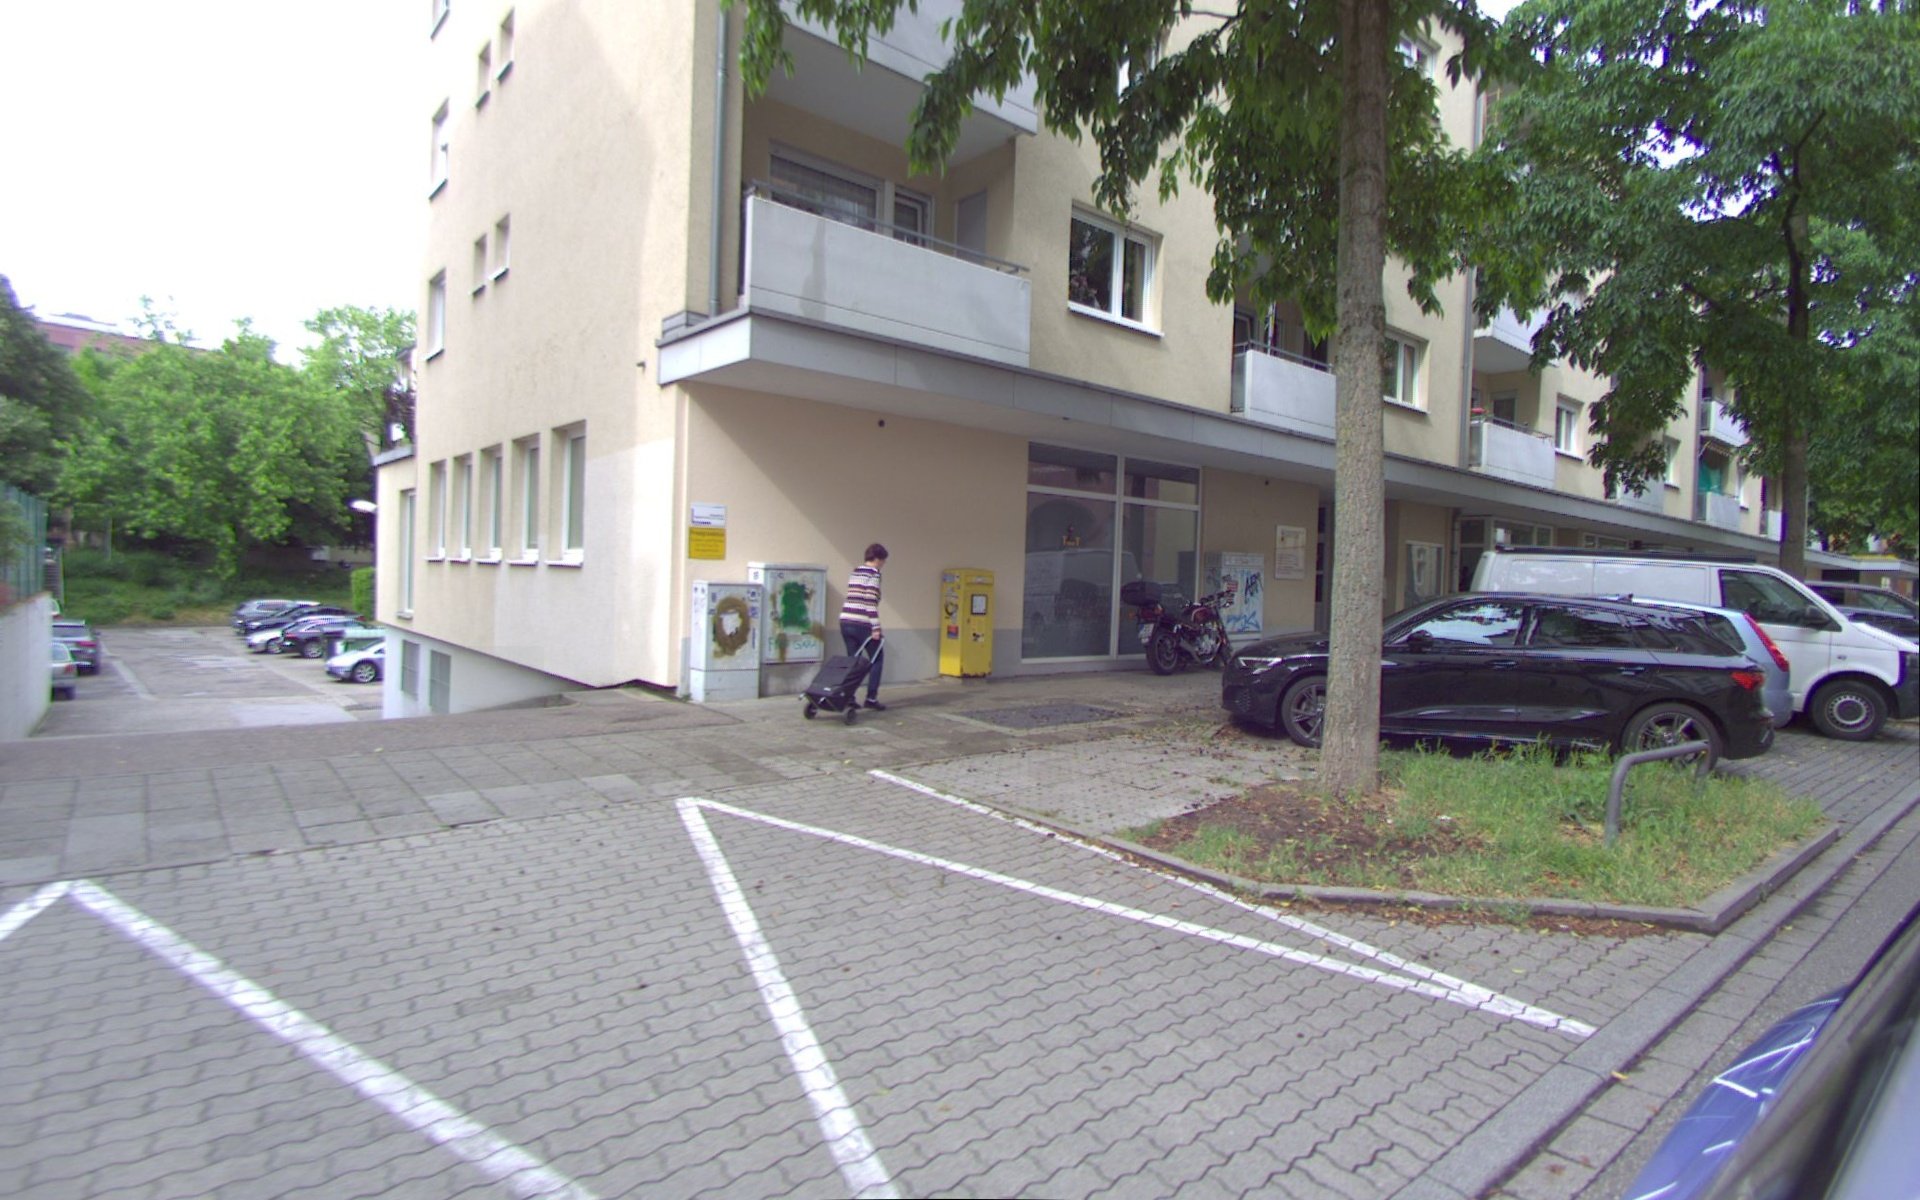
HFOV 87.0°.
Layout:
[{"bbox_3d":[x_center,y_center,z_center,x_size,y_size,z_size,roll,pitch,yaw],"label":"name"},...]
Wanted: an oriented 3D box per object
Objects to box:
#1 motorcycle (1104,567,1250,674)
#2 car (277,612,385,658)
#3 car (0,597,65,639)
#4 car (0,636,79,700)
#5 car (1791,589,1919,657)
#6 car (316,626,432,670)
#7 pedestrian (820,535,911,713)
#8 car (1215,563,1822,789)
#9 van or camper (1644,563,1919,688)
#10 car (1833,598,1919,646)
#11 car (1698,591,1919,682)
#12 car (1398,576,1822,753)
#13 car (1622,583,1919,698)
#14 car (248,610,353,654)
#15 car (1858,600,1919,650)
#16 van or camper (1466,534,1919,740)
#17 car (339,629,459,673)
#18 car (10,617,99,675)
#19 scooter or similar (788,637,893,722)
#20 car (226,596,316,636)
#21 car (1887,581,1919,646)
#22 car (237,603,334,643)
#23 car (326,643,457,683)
[{"bbox_3d":[2.991,0.268,13.803,2.213,1.316,0.679,1,4,-41],"label":"motorcycle"},{"bbox_3d":[-24.489,1.338,39.480,3.480,1.459,1.651,-2,4,-33],"label":"car"},{"bbox_3d":[-39.514,0.729,43.179,1.923,1.715,3.993,1,-1,-41],"label":"car"},{"bbox_3d":[-23.804,1.687,25.857,1.923,1.410,3.830,1,-1,-41],"label":"car"},{"bbox_3d":[24.161,0.631,25.697,4.177,1.518,1.963,4,3,21],"label":"car"},{"bbox_3d":[-20.074,1.617,34.683,3.358,1.408,1.605,1,-1,-33],"label":"car"},{"bbox_3d":[-0.865,0.207,9.242,0.570,1.559,0.577,1,0,-41],"label":"pedestrian"},{"bbox_3d":[4.580,0.513,9.064,4.261,1.409,1.912,4,3,19],"label":"car"},{"bbox_3d":[15.398,0.424,17.975,4.971,1.892,2.109,4,3,25],"label":"van or camper"},{"bbox_3d":[31.786,0.769,33.553,3.876,1.483,1.808,3,2,26],"label":"car"},{"bbox_3d":[17.336,0.692,20.183,3.822,1.520,1.897,4,2,25],"label":"car"},{"bbox_3d":[6.614,0.571,10.739,3.382,1.459,1.661,4,2,19],"label":"car"},{"bbox_3d":[13.246,0.597,16.238,3.958,1.462,1.831,4,3,19],"label":"car"},{"bbox_3d":[-26.644,1.266,40.999,3.480,1.459,1.651,-2,4,-33],"label":"car"},{"bbox_3d":[30.864,0.834,31.352,4.062,1.460,1.841,3,2,20],"label":"car"},{"bbox_3d":[8.972,0.294,12.545,4.703,2.017,1.982,5,5,28],"label":"van or camper"},{"bbox_3d":[-18.471,1.653,33.353,3.358,1.362,1.502,1,-1,-33],"label":"car"},{"bbox_3d":[-28.014,1.363,31.340,1.924,1.605,3.992,1,-1,-42],"label":"car"},{"bbox_3d":[-1.022,0.663,8.631,0.682,0.631,0.543,1,3,-41],"label":"scooter or similar"},{"bbox_3d":[-32.965,0.737,48.519,3.480,1.664,1.651,-2,4,-33],"label":"car"},{"bbox_3d":[35.346,0.640,34.723,4.636,2.223,2.060,4,2,13],"label":"car"},{"bbox_3d":[-29.747,0.986,44.729,3.480,1.459,1.651,-2,4,-33],"label":"car"},{"bbox_3d":[-17.798,1.947,31.709,3.479,1.102,1.650,1,-1,-33],"label":"car"}]
